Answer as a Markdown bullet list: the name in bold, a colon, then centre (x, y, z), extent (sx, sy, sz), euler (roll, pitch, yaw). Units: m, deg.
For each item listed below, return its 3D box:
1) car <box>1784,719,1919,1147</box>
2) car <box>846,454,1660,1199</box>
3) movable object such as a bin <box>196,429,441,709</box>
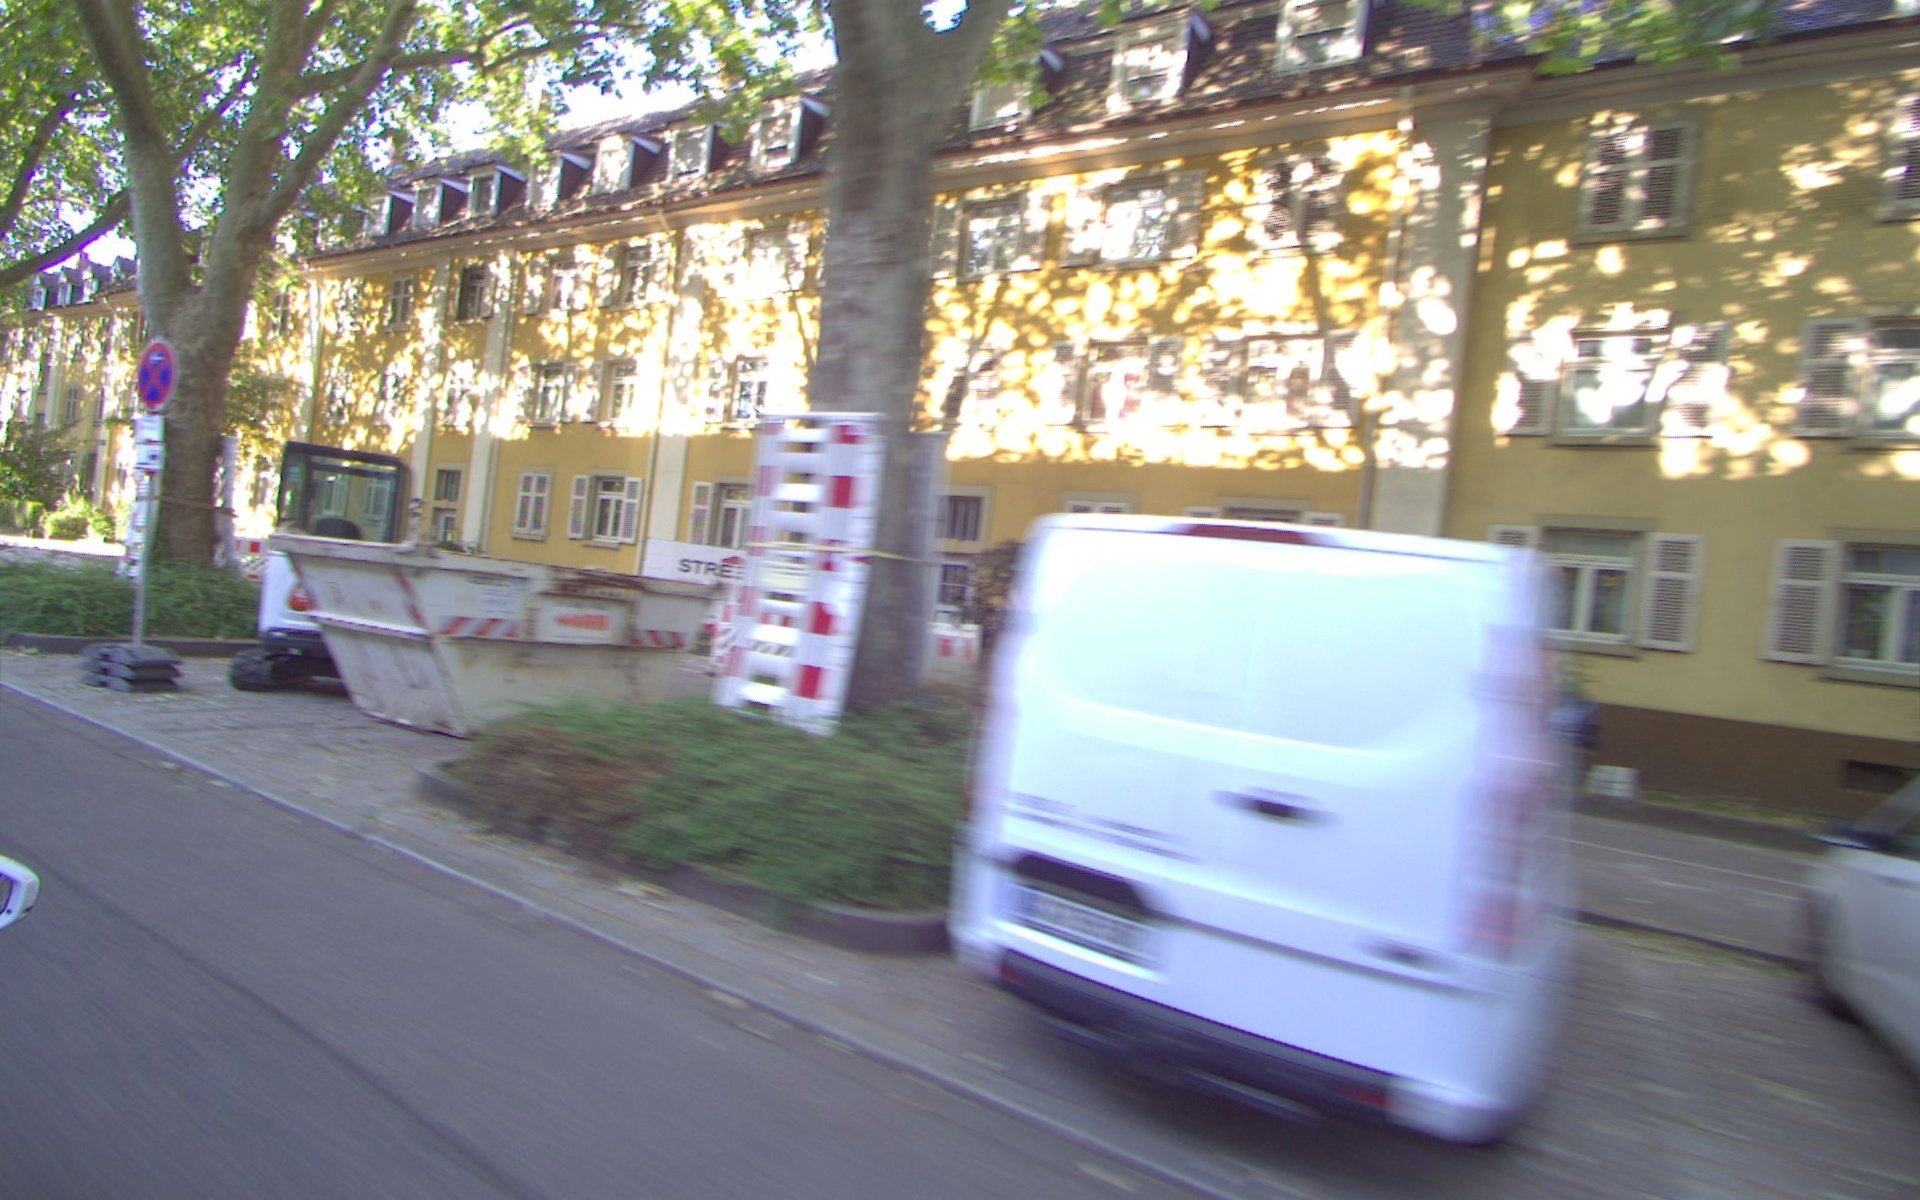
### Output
- **car**: centre (4.658, 1.388, 3.826), extent (1.669, 1.558, 3.311), euler (7, -1, 30)
- **car**: centre (1.831, 0.820, 4.881), extent (2.029, 2.037, 4.842), euler (7, -1, 31)
- **movable object such as a bin**: centre (-6.429, -0.279, 10.421), extent (1.468, 2.296, 3.257), euler (7, -1, -25)
